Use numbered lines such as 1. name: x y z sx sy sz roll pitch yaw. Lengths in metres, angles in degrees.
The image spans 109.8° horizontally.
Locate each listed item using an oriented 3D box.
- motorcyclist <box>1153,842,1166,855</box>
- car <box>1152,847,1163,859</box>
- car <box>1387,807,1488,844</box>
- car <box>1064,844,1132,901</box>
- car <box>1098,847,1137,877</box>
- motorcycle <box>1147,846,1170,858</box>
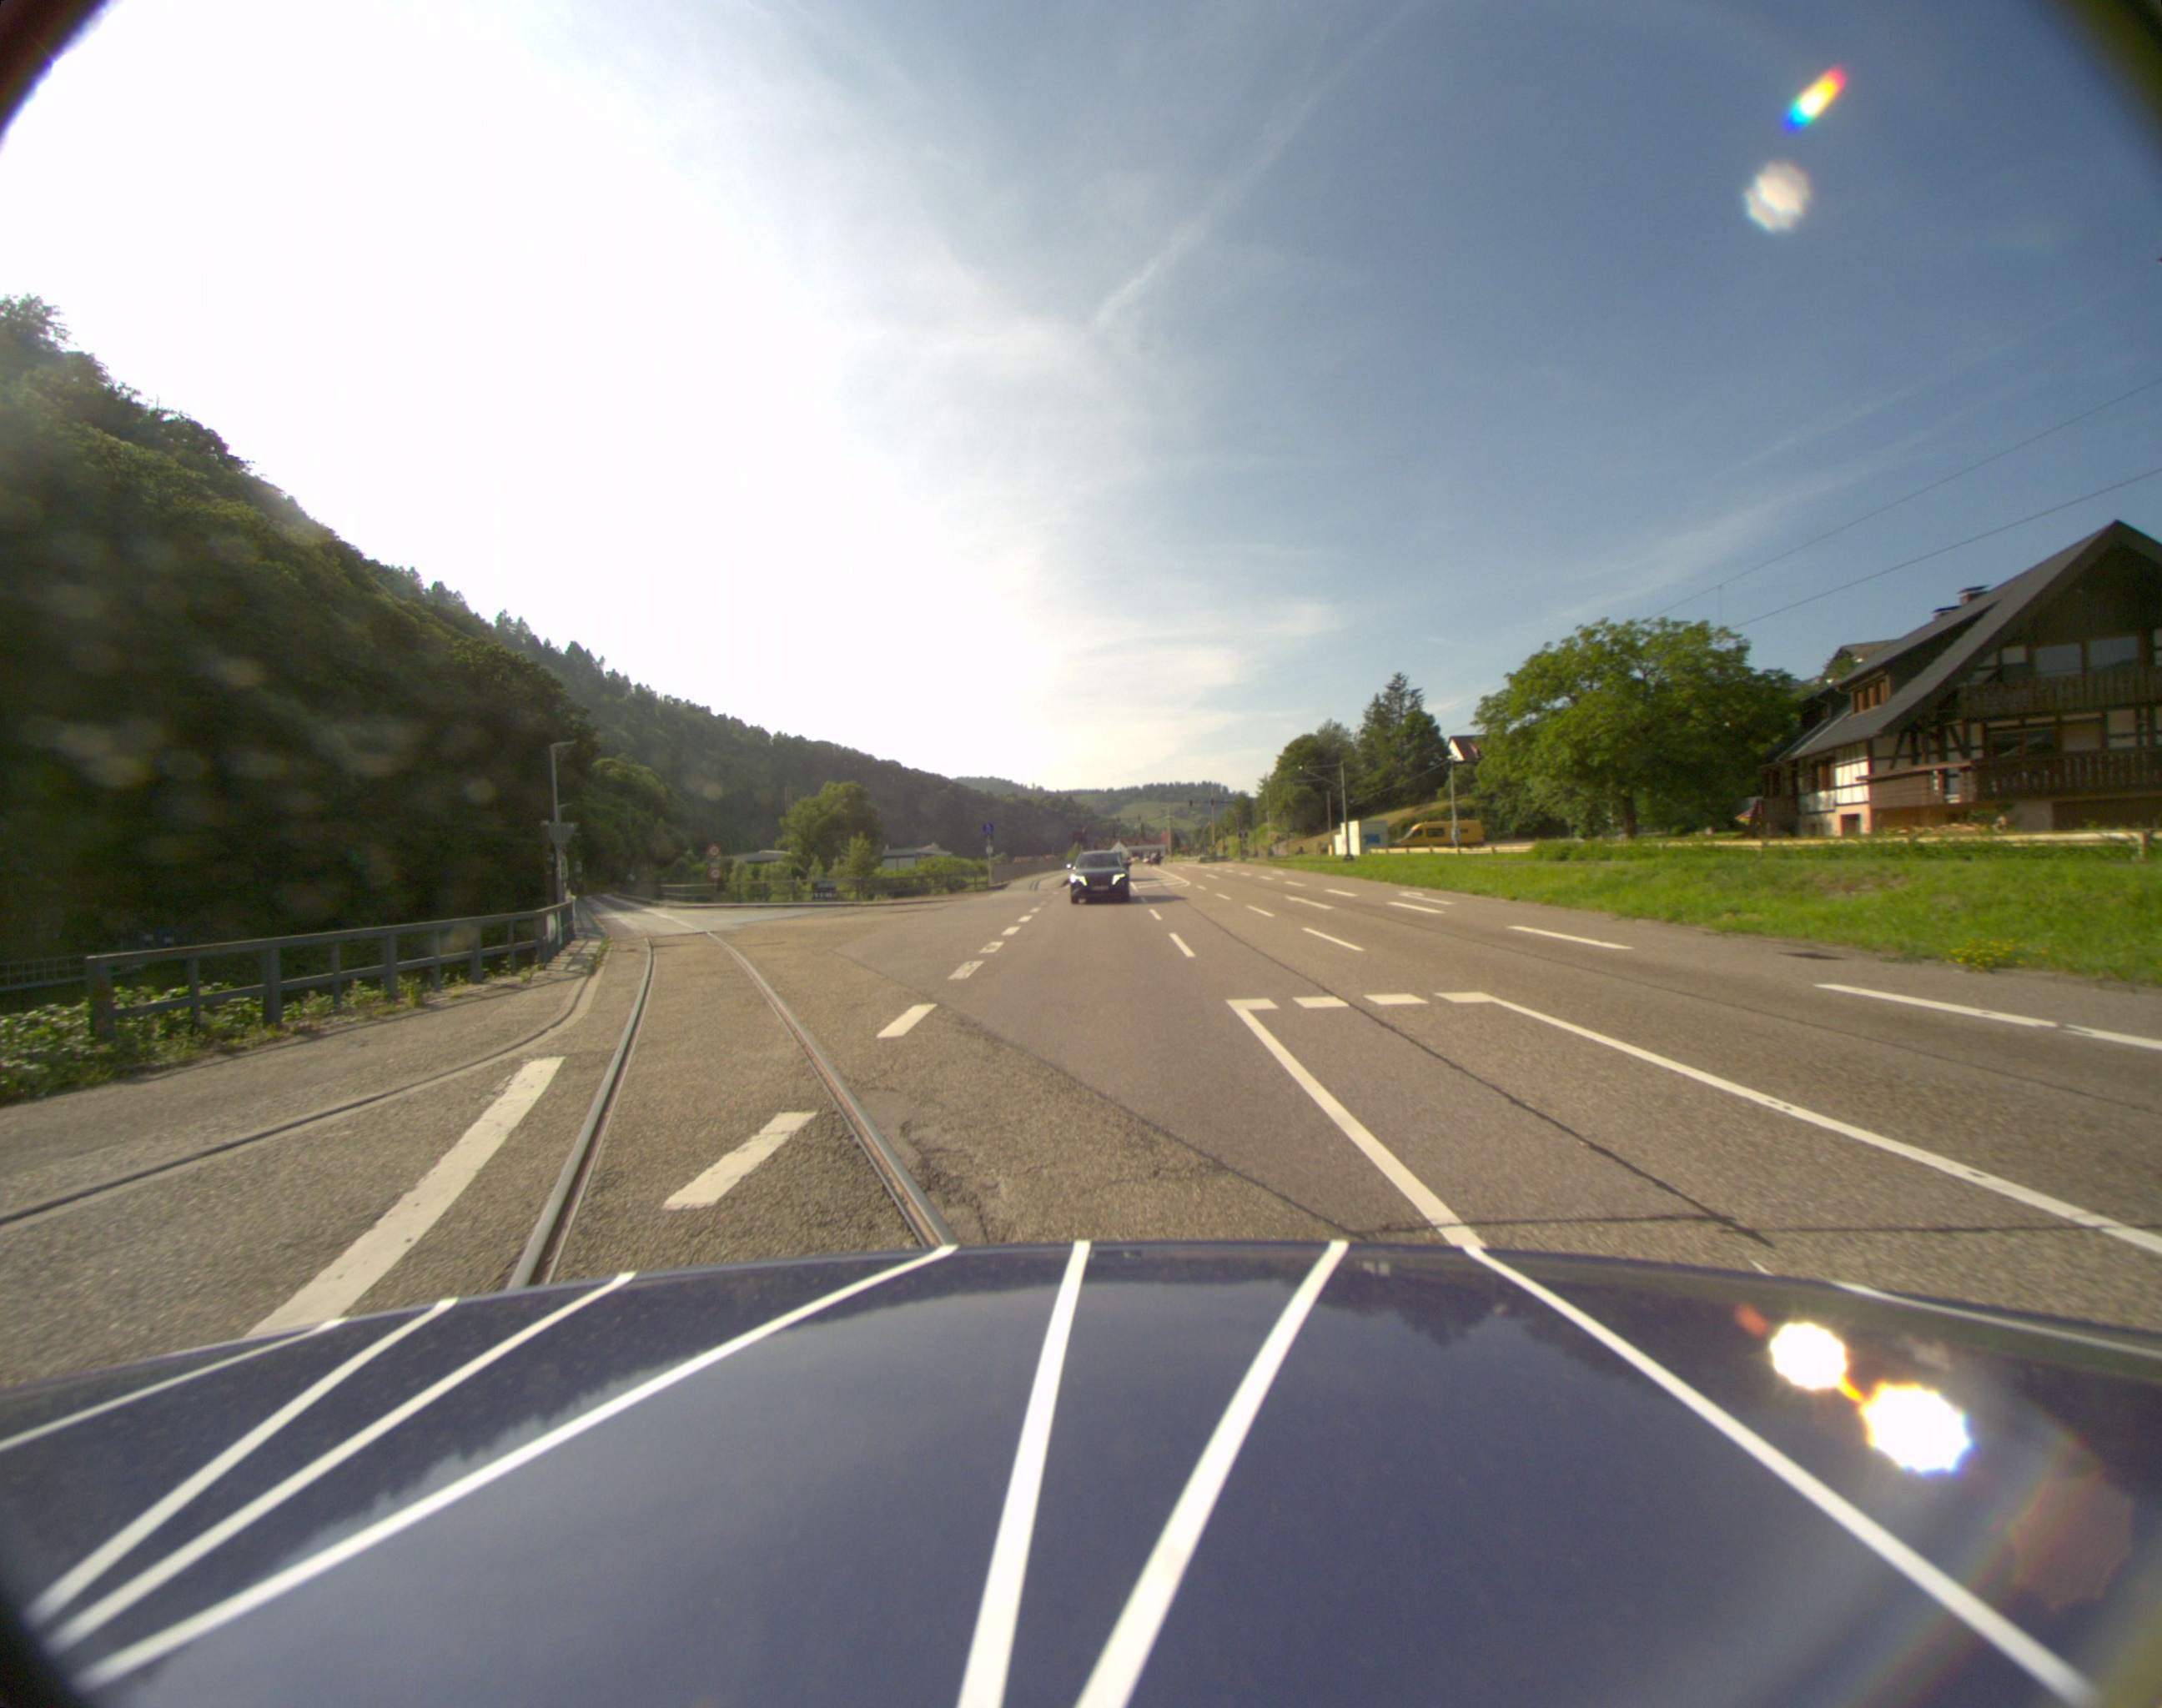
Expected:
1. motorcyclist: 9.736 -0.659 94.479 1.187 1.535 0.990 -6 1 -22
2. car: 16.515 -0.223 164.824 2.124 2.422 5.229 -4 0 5
3. car: 29.529 -2.309 63.269 7.075 2.442 2.951 -4 0 13
4. car: 0.653 0.589 25.636 1.998 1.661 5.512 -2 -1 3
5. car: 1.999 0.416 41.763 1.919 1.455 4.000 -4 0 2
6. motorcycle: 9.665 -0.205 94.446 2.595 1.261 1.004 -5 0 -22
